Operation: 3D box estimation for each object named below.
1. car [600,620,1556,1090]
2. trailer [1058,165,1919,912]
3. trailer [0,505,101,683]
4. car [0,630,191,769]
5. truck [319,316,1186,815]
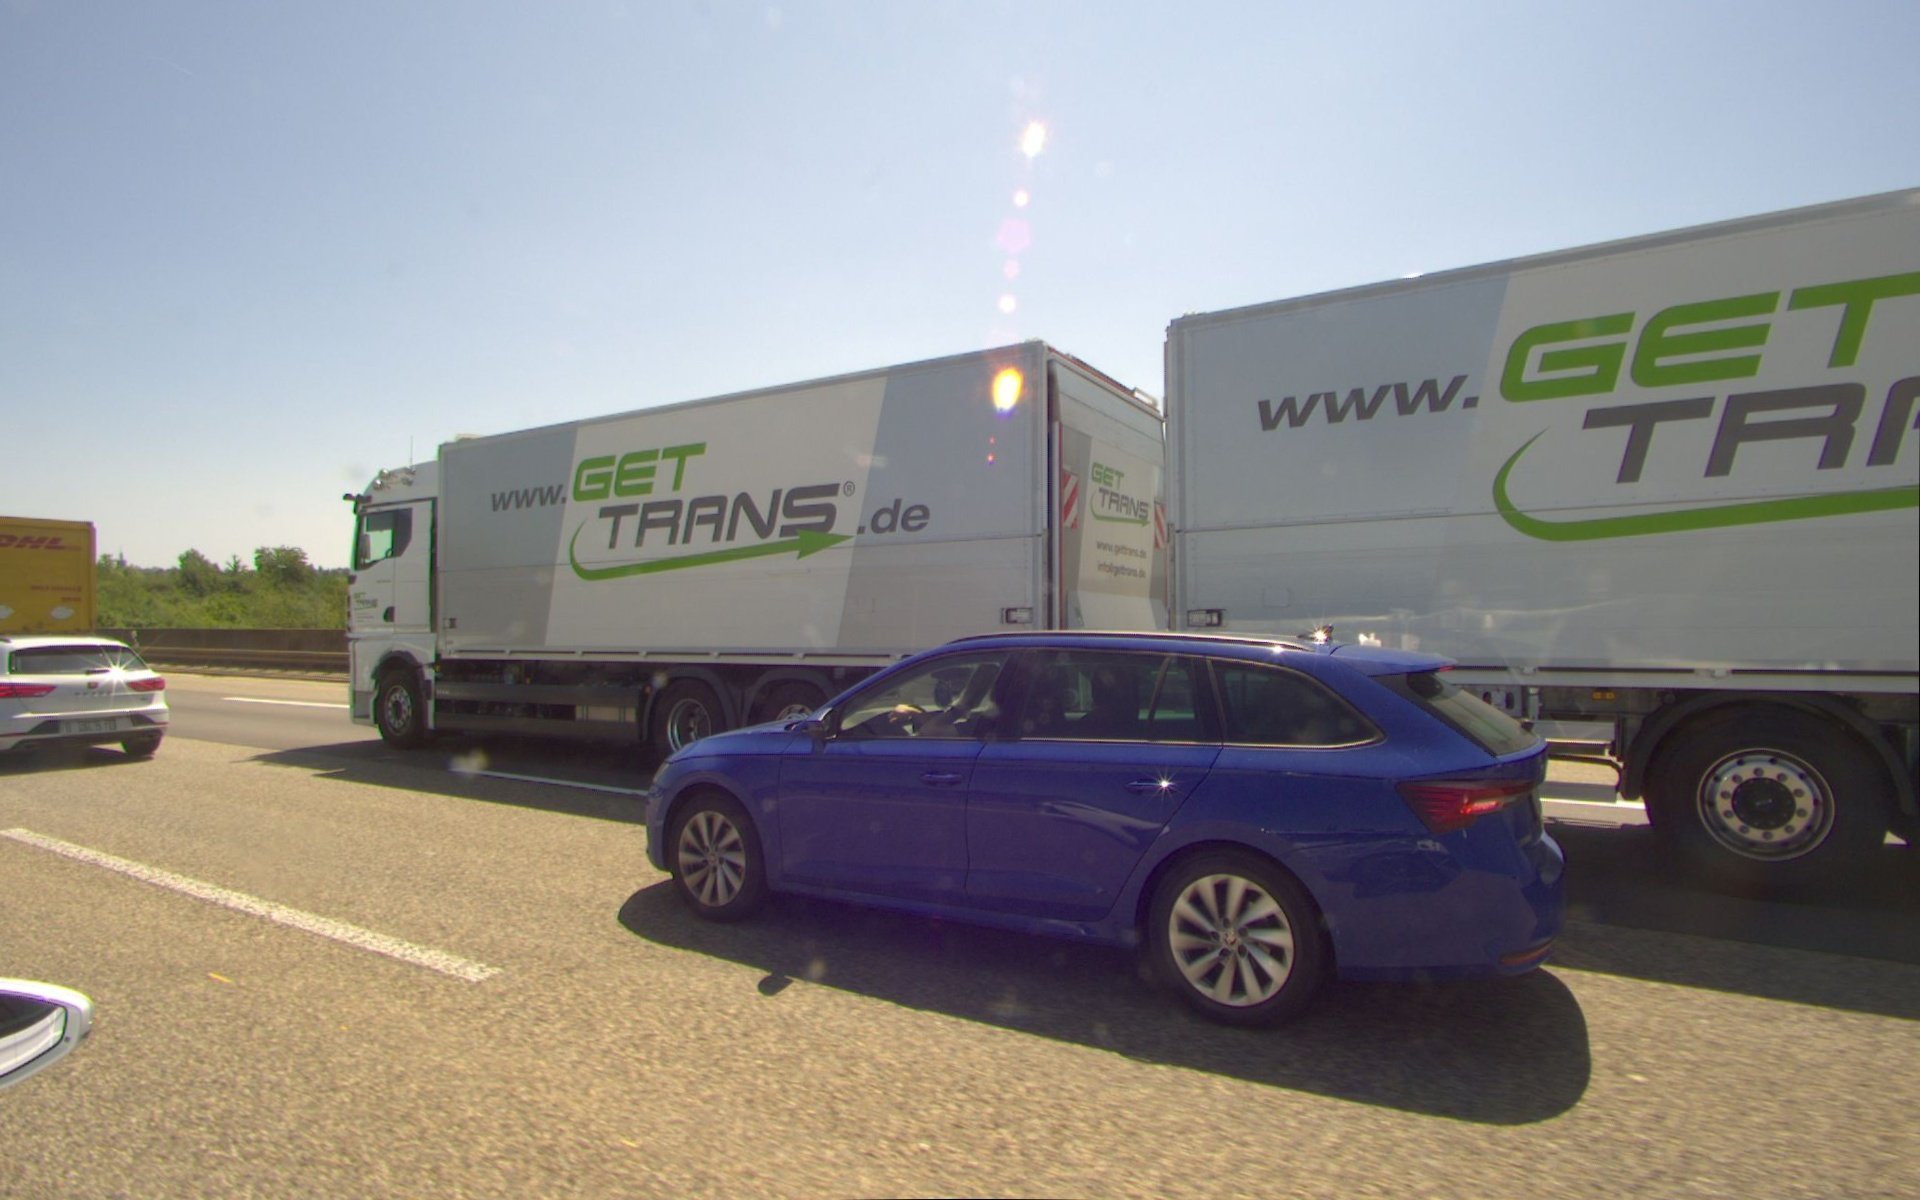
[{"bbox_3d":[0.383,0.847,5.000,4.434,1.459,1.707,-1,-2,31],"label":"car"},{"bbox_3d":[4.926,-0.255,6.388,8.169,3.640,2.841,-1,-2,31],"label":"trailer"},{"bbox_3d":[-25.438,-0.022,25.684,8.804,4.074,2.697,-2,-2,32],"label":"trailer"},{"bbox_3d":[-11.113,1.066,11.945,4.128,1.405,1.778,-1,-1,32],"label":"car"},{"bbox_3d":[-3.042,-0.090,11.349,10.615,3.648,2.846,-1,-2,32],"label":"truck"}]
